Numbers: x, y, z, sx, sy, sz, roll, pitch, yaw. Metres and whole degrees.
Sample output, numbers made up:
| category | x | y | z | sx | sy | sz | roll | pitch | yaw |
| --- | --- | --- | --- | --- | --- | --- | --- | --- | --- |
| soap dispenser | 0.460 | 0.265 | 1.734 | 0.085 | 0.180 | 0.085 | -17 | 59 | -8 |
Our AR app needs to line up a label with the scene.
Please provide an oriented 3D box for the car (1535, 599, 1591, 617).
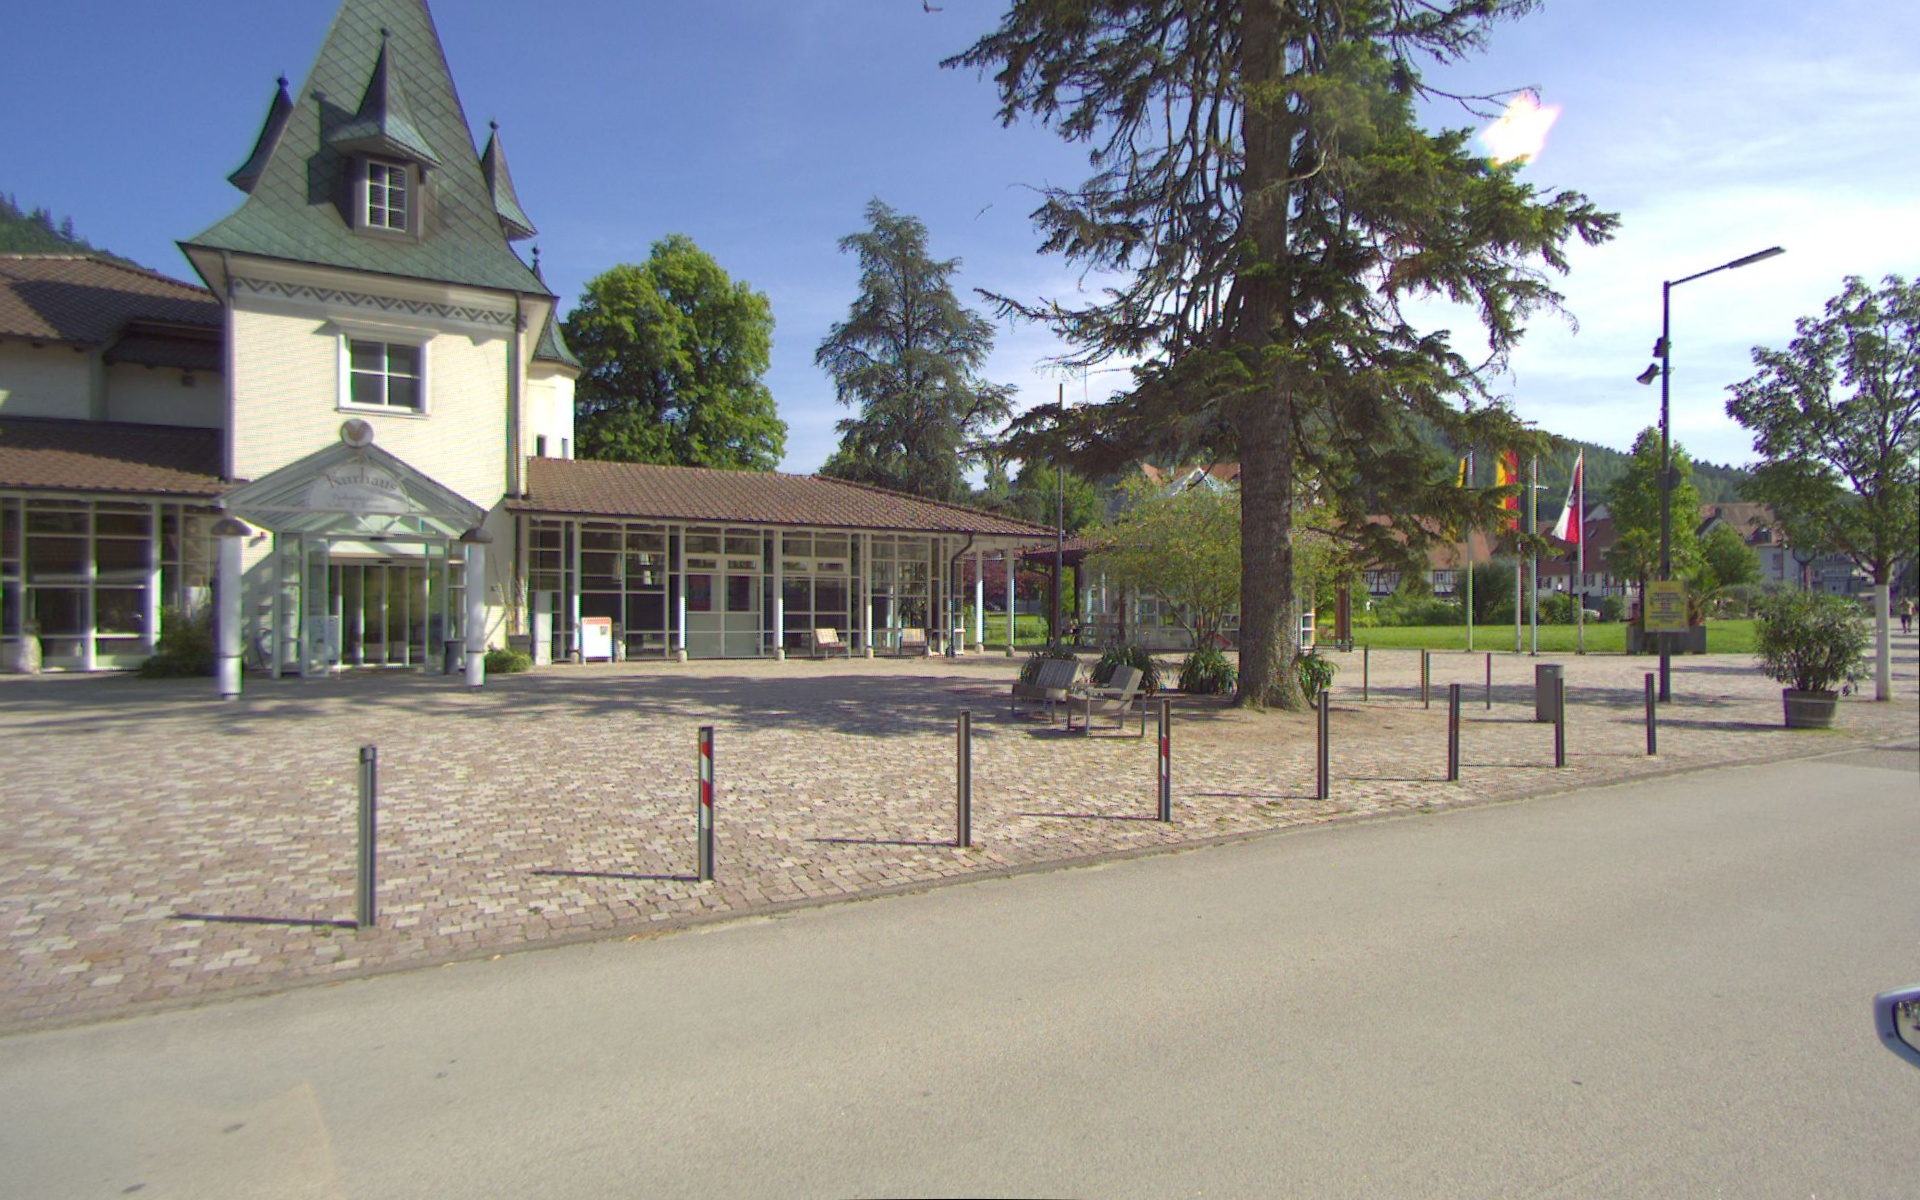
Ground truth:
| category | x | y | z | sx | sy | sz | roll | pitch | yaw |
| --- | --- | --- | --- | --- | --- | --- | --- | --- | --- |
| car | 54.813 | 0.709 | 91.314 | 4.101 | 1.638 | 1.690 | 0 | 0 | 20 |

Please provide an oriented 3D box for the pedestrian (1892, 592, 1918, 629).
| category | x | y | z | sx | sy | sz | roll | pitch | yaw |
| --- | --- | --- | --- | --- | --- | --- | --- | --- | --- |
| pedestrian | 48.027 | 0.531 | 51.055 | 0.855 | 1.839 | 0.689 | 0 | 0 | 35 |
